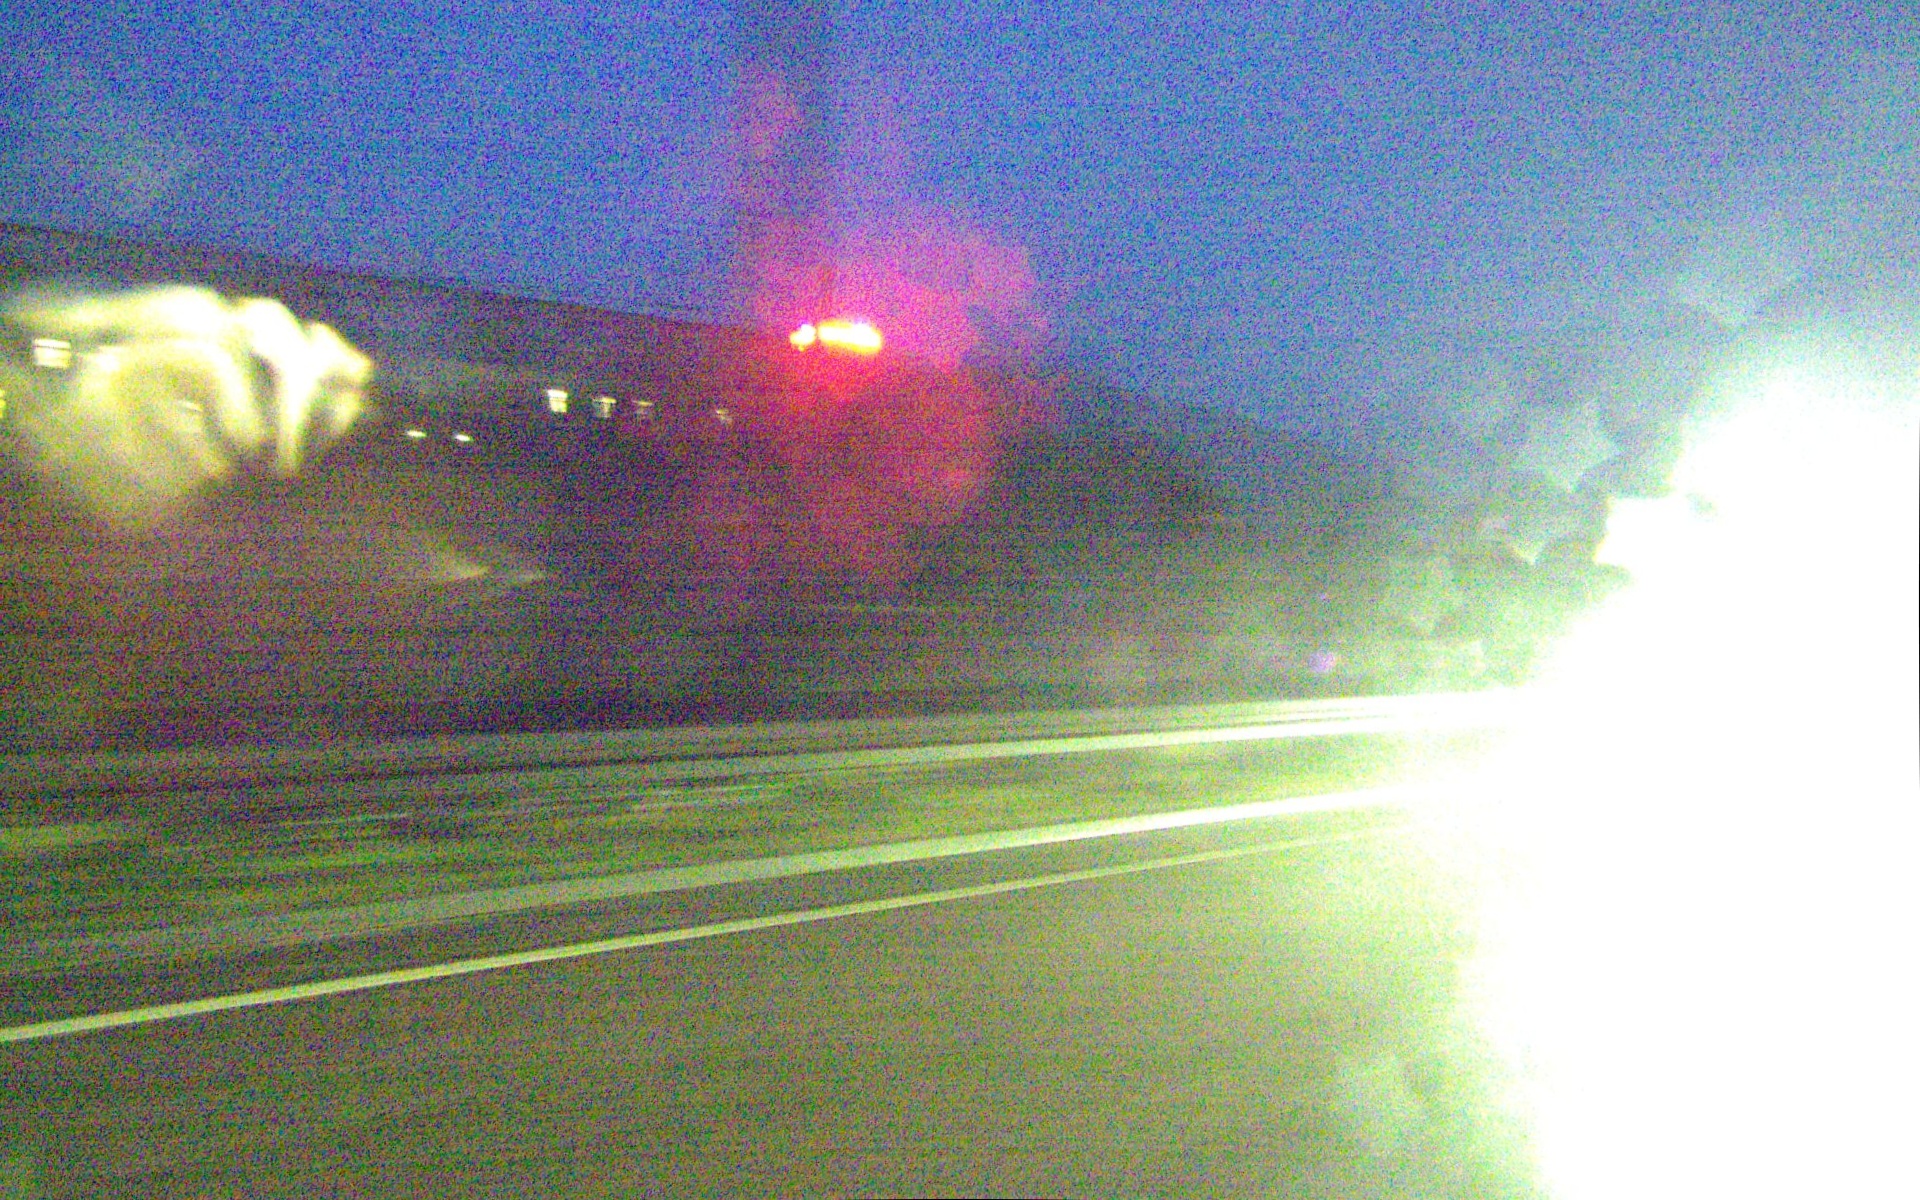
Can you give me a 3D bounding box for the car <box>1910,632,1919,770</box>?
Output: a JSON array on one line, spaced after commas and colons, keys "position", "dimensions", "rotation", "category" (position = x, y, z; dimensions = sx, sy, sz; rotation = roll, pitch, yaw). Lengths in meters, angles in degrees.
[{"position": [11.542, 1.053, 10.370], "dimensions": [3.639, 1.378, 1.632], "rotation": [1, 0, -32], "category": "car"}]
